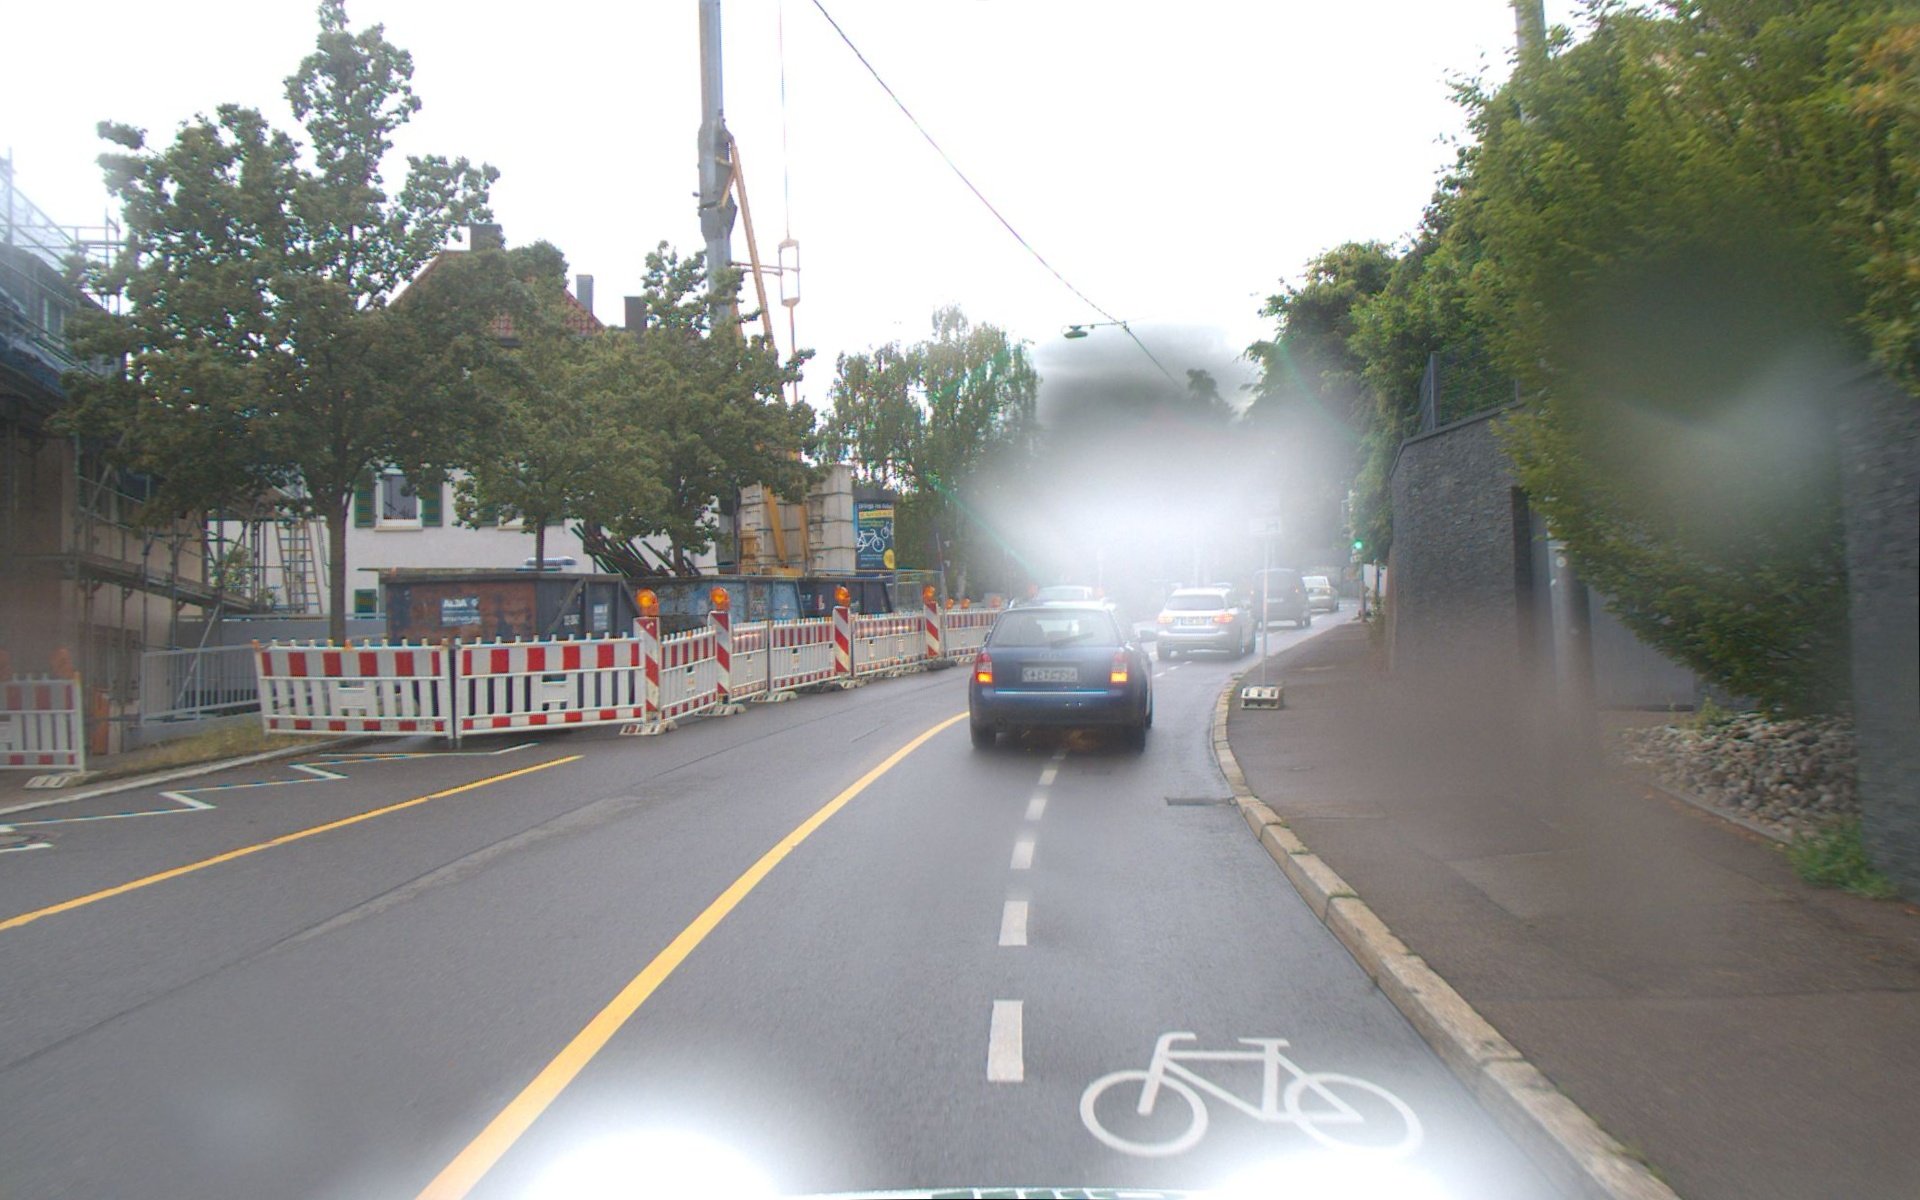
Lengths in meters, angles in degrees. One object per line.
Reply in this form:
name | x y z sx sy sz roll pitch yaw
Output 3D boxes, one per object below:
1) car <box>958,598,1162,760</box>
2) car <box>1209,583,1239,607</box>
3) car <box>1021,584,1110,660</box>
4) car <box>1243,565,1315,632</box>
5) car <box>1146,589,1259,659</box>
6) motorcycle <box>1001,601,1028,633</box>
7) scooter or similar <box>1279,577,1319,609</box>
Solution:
car | 1.143 0.712 17.085 1.739 1.464 4.003 0 0 9
car | 17.710 -0.357 111.205 1.638 1.451 4.003 -4 0 5
car | 2.294 0.450 35.311 1.424 1.553 2.925 0 0 13
car | 10.191 -0.082 52.688 1.694 1.927 4.058 -4 0 18
car | 5.311 0.496 35.781 1.868 1.413 4.353 0 0 16
motorcycle | 2.106 0.661 64.107 0.578 1.150 1.845 -4 0 15
scooter or similar | 13.285 -0.270 64.901 0.643 1.075 1.546 -4 -4 -26
